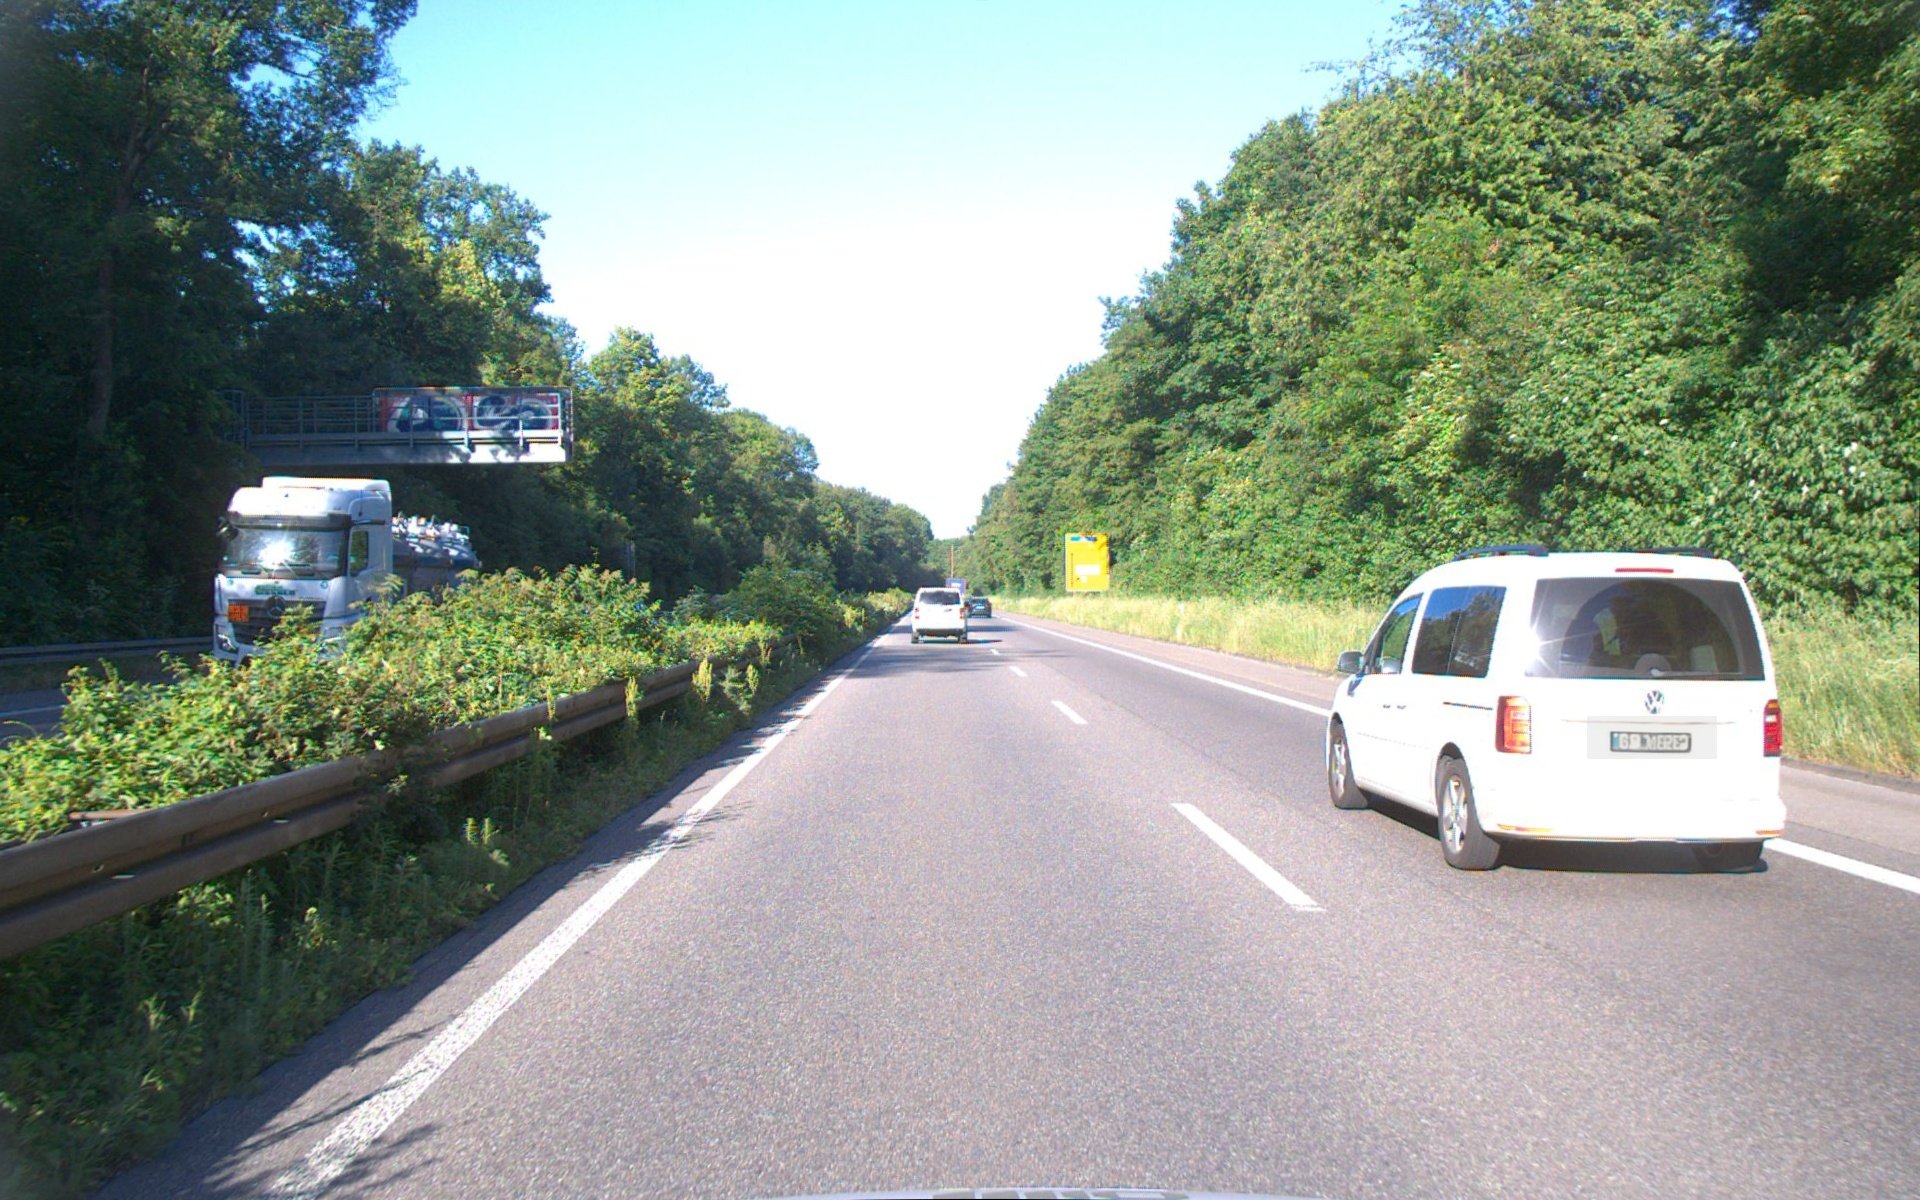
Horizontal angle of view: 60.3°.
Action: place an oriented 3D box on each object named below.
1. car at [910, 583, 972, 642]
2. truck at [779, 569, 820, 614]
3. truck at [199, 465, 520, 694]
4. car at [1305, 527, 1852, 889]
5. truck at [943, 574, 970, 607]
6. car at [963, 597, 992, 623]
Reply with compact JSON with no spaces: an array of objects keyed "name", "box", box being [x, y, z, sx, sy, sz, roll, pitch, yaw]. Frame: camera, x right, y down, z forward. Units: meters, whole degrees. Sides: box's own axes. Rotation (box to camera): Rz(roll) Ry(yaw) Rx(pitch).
[{"name":"car","box":[-0.660,0.419,54.631,1.912,1.813,4.586,1,0,-2]},{"name":"truck","box":[-14.741,-0.768,152.253,3.163,4.083,5.675,1,0,-1]},{"name":"truck","box":[-12.207,-0.327,35.194,2.713,4.024,11.464,1,0,-1]},{"name":"car","box":[3.690,0.579,10.862,1.762,1.844,4.586,1,0,-2]},{"name":"truck","box":[-0.580,-1.308,233.398,3.658,4.419,9.302,1,0,-1]},{"name":"car","box":[1.264,0.751,122.093,1.912,1.813,4.586,1,0,-2]}]
